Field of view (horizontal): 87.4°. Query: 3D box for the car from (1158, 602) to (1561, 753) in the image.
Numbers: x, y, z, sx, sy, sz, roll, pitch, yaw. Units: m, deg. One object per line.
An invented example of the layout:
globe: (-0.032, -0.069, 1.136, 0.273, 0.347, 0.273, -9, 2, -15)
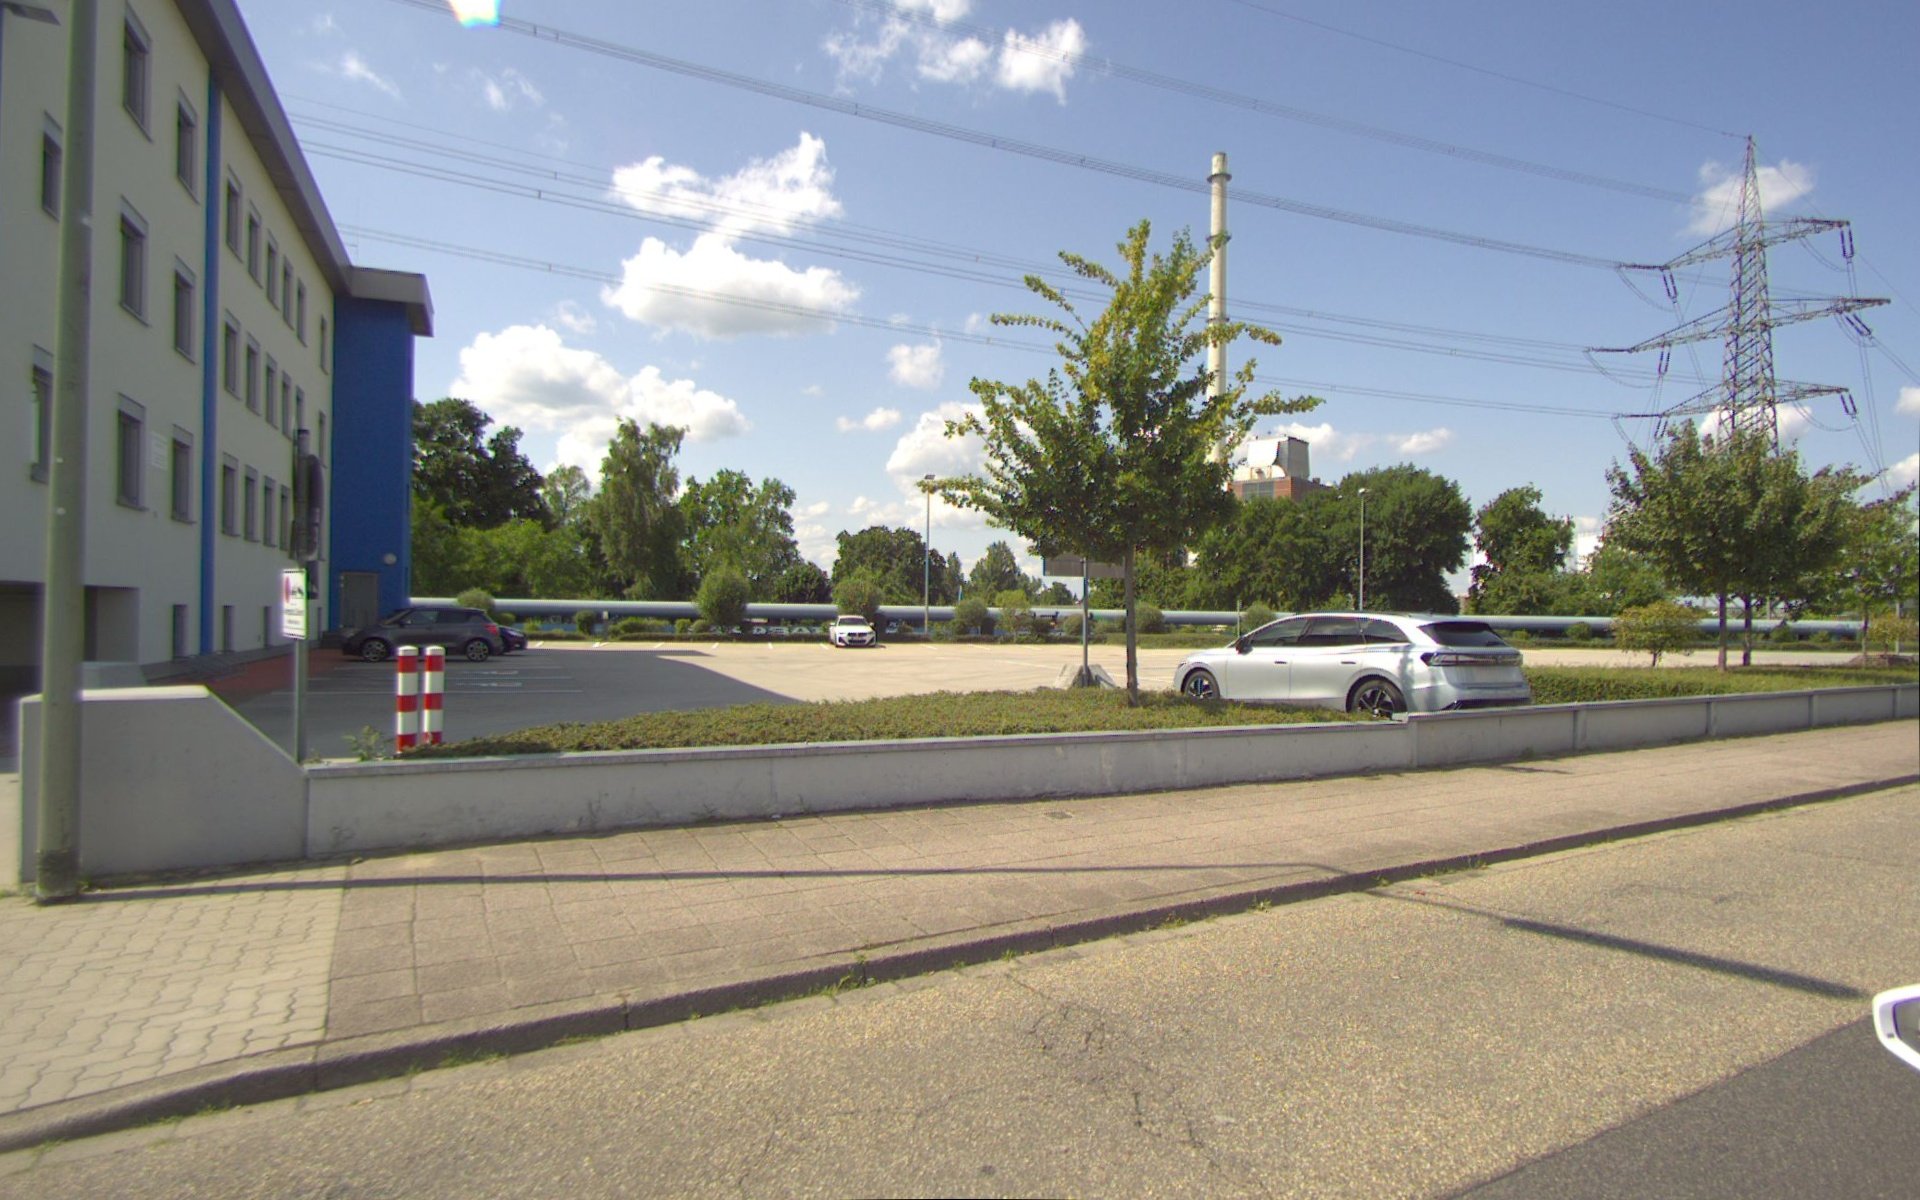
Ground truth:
car: (5.007, 0.926, 13.320, 1.979, 1.623, 4.728, 2, -2, -33)

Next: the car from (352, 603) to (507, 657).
car: (-14.334, 0.812, 27.328, 3.632, 1.394, 1.557, 1, -1, -26)

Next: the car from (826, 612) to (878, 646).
car: (-5.046, 1.311, 46.649, 1.774, 1.493, 3.813, 1, -1, -16)

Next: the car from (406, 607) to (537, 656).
car: (-15.517, 0.998, 32.022, 3.632, 1.394, 1.557, 3, -2, -26)
